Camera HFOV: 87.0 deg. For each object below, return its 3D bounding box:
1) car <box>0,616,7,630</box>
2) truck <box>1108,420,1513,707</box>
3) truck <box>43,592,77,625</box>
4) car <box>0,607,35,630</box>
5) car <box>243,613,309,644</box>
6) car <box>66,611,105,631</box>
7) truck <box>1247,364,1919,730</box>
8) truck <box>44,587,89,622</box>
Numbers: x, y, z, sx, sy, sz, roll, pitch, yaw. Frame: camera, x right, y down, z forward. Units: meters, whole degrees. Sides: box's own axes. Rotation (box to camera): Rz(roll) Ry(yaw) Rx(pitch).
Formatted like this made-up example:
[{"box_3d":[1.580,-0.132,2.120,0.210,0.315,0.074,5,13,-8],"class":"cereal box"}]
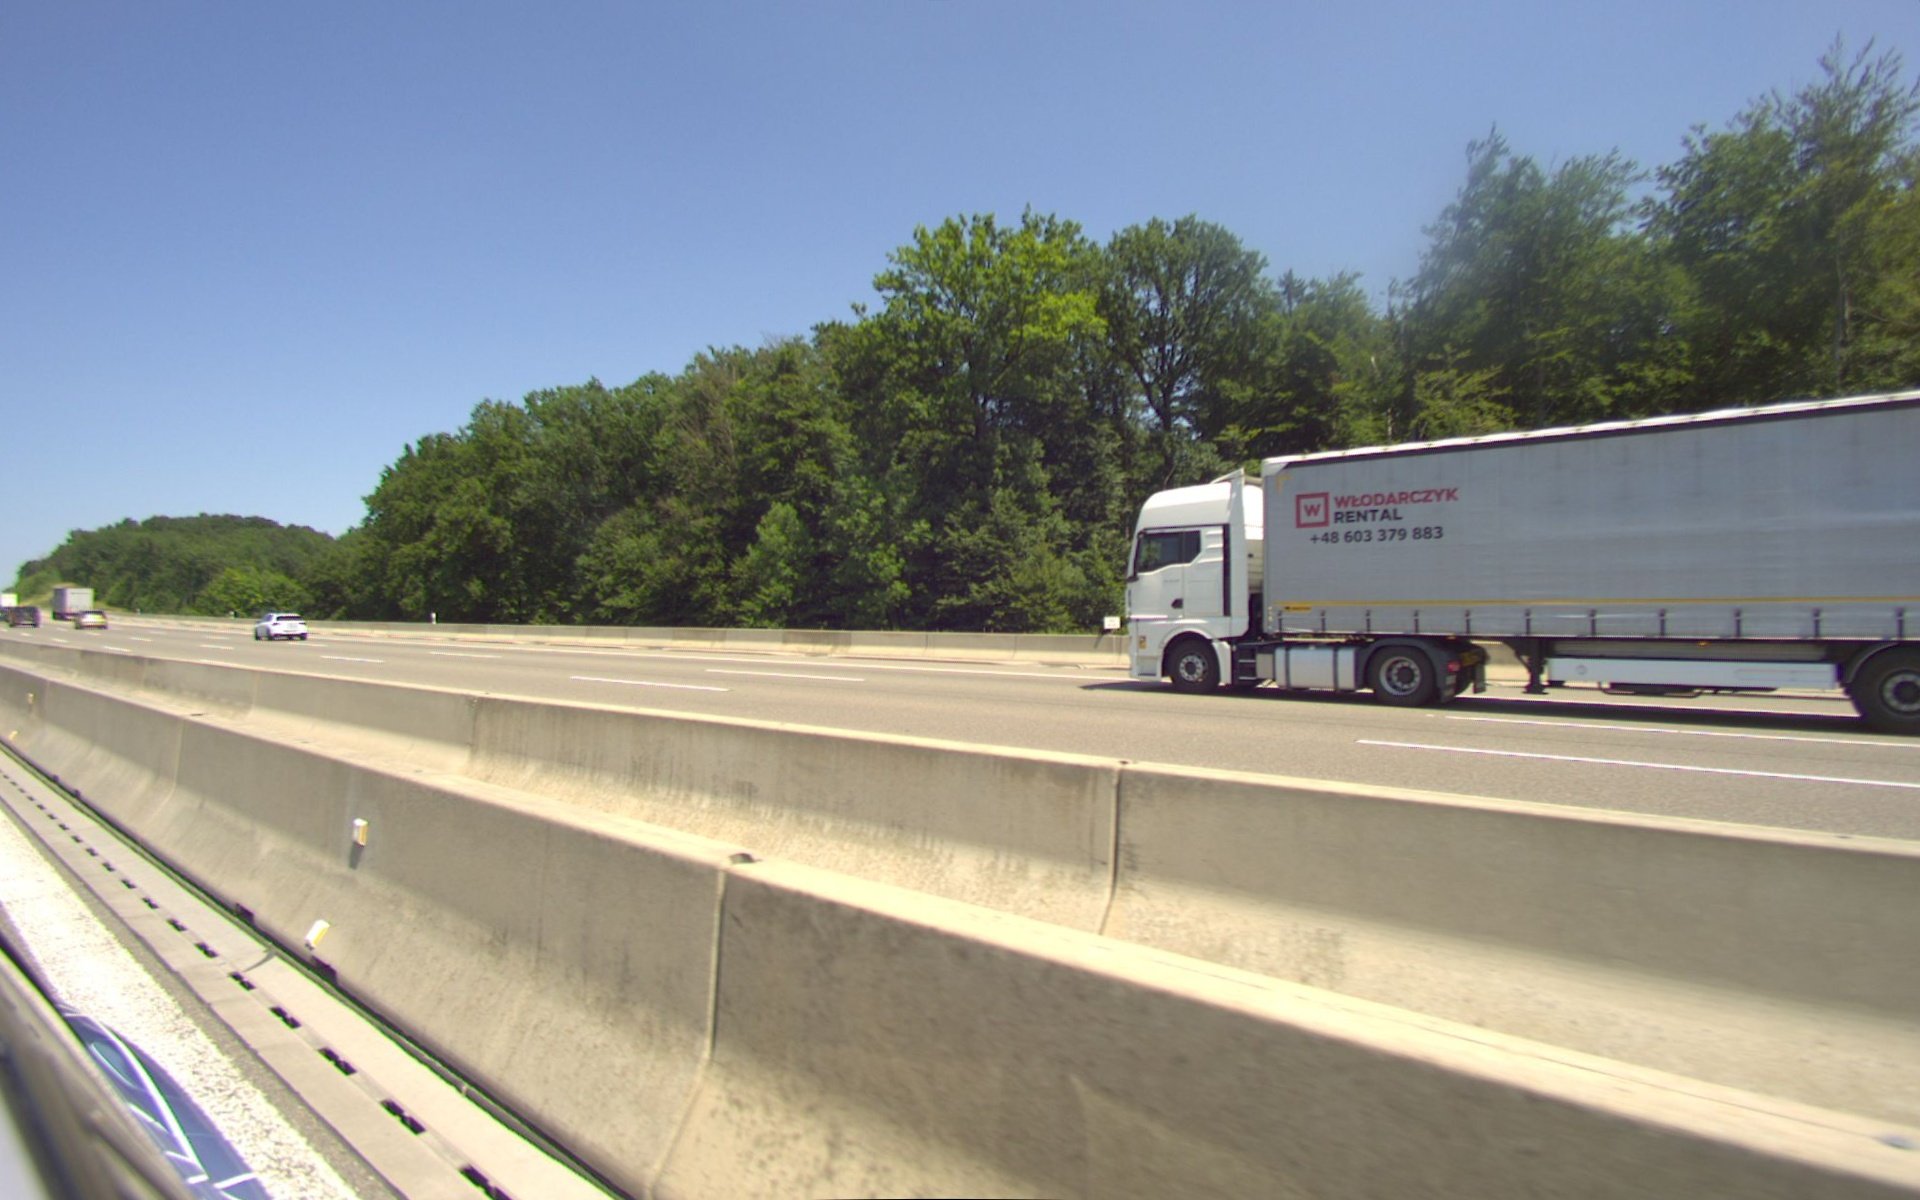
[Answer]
[{"box_3d":[-106.205,2.513,111.144,5.111,1.487,1.852,0,0,43],"class":"car"},{"box_3d":[5.987,-0.494,17.909,6.229,4.209,2.654,-1,-1,41],"class":"truck"},{"box_3d":[-112.863,1.017,126.916,5.509,4.056,2.629,-1,0,42],"class":"truck"},{"box_3d":[-83.756,1.638,89.882,5.773,1.954,1.852,0,0,42],"class":"car"},{"box_3d":[-37.105,1.519,54.851,4.812,1.491,1.853,0,1,42],"class":"car"},{"box_3d":[-71.899,1.685,83.173,4.812,1.546,1.852,0,0,42],"class":"car"},{"box_3d":[11.209,-0.598,13.352,14.502,4.209,2.729,-1,-1,41],"class":"truck"},{"box_3d":[-108.260,0.588,122.550,14.298,4.056,2.661,-1,0,43],"class":"truck"}]
